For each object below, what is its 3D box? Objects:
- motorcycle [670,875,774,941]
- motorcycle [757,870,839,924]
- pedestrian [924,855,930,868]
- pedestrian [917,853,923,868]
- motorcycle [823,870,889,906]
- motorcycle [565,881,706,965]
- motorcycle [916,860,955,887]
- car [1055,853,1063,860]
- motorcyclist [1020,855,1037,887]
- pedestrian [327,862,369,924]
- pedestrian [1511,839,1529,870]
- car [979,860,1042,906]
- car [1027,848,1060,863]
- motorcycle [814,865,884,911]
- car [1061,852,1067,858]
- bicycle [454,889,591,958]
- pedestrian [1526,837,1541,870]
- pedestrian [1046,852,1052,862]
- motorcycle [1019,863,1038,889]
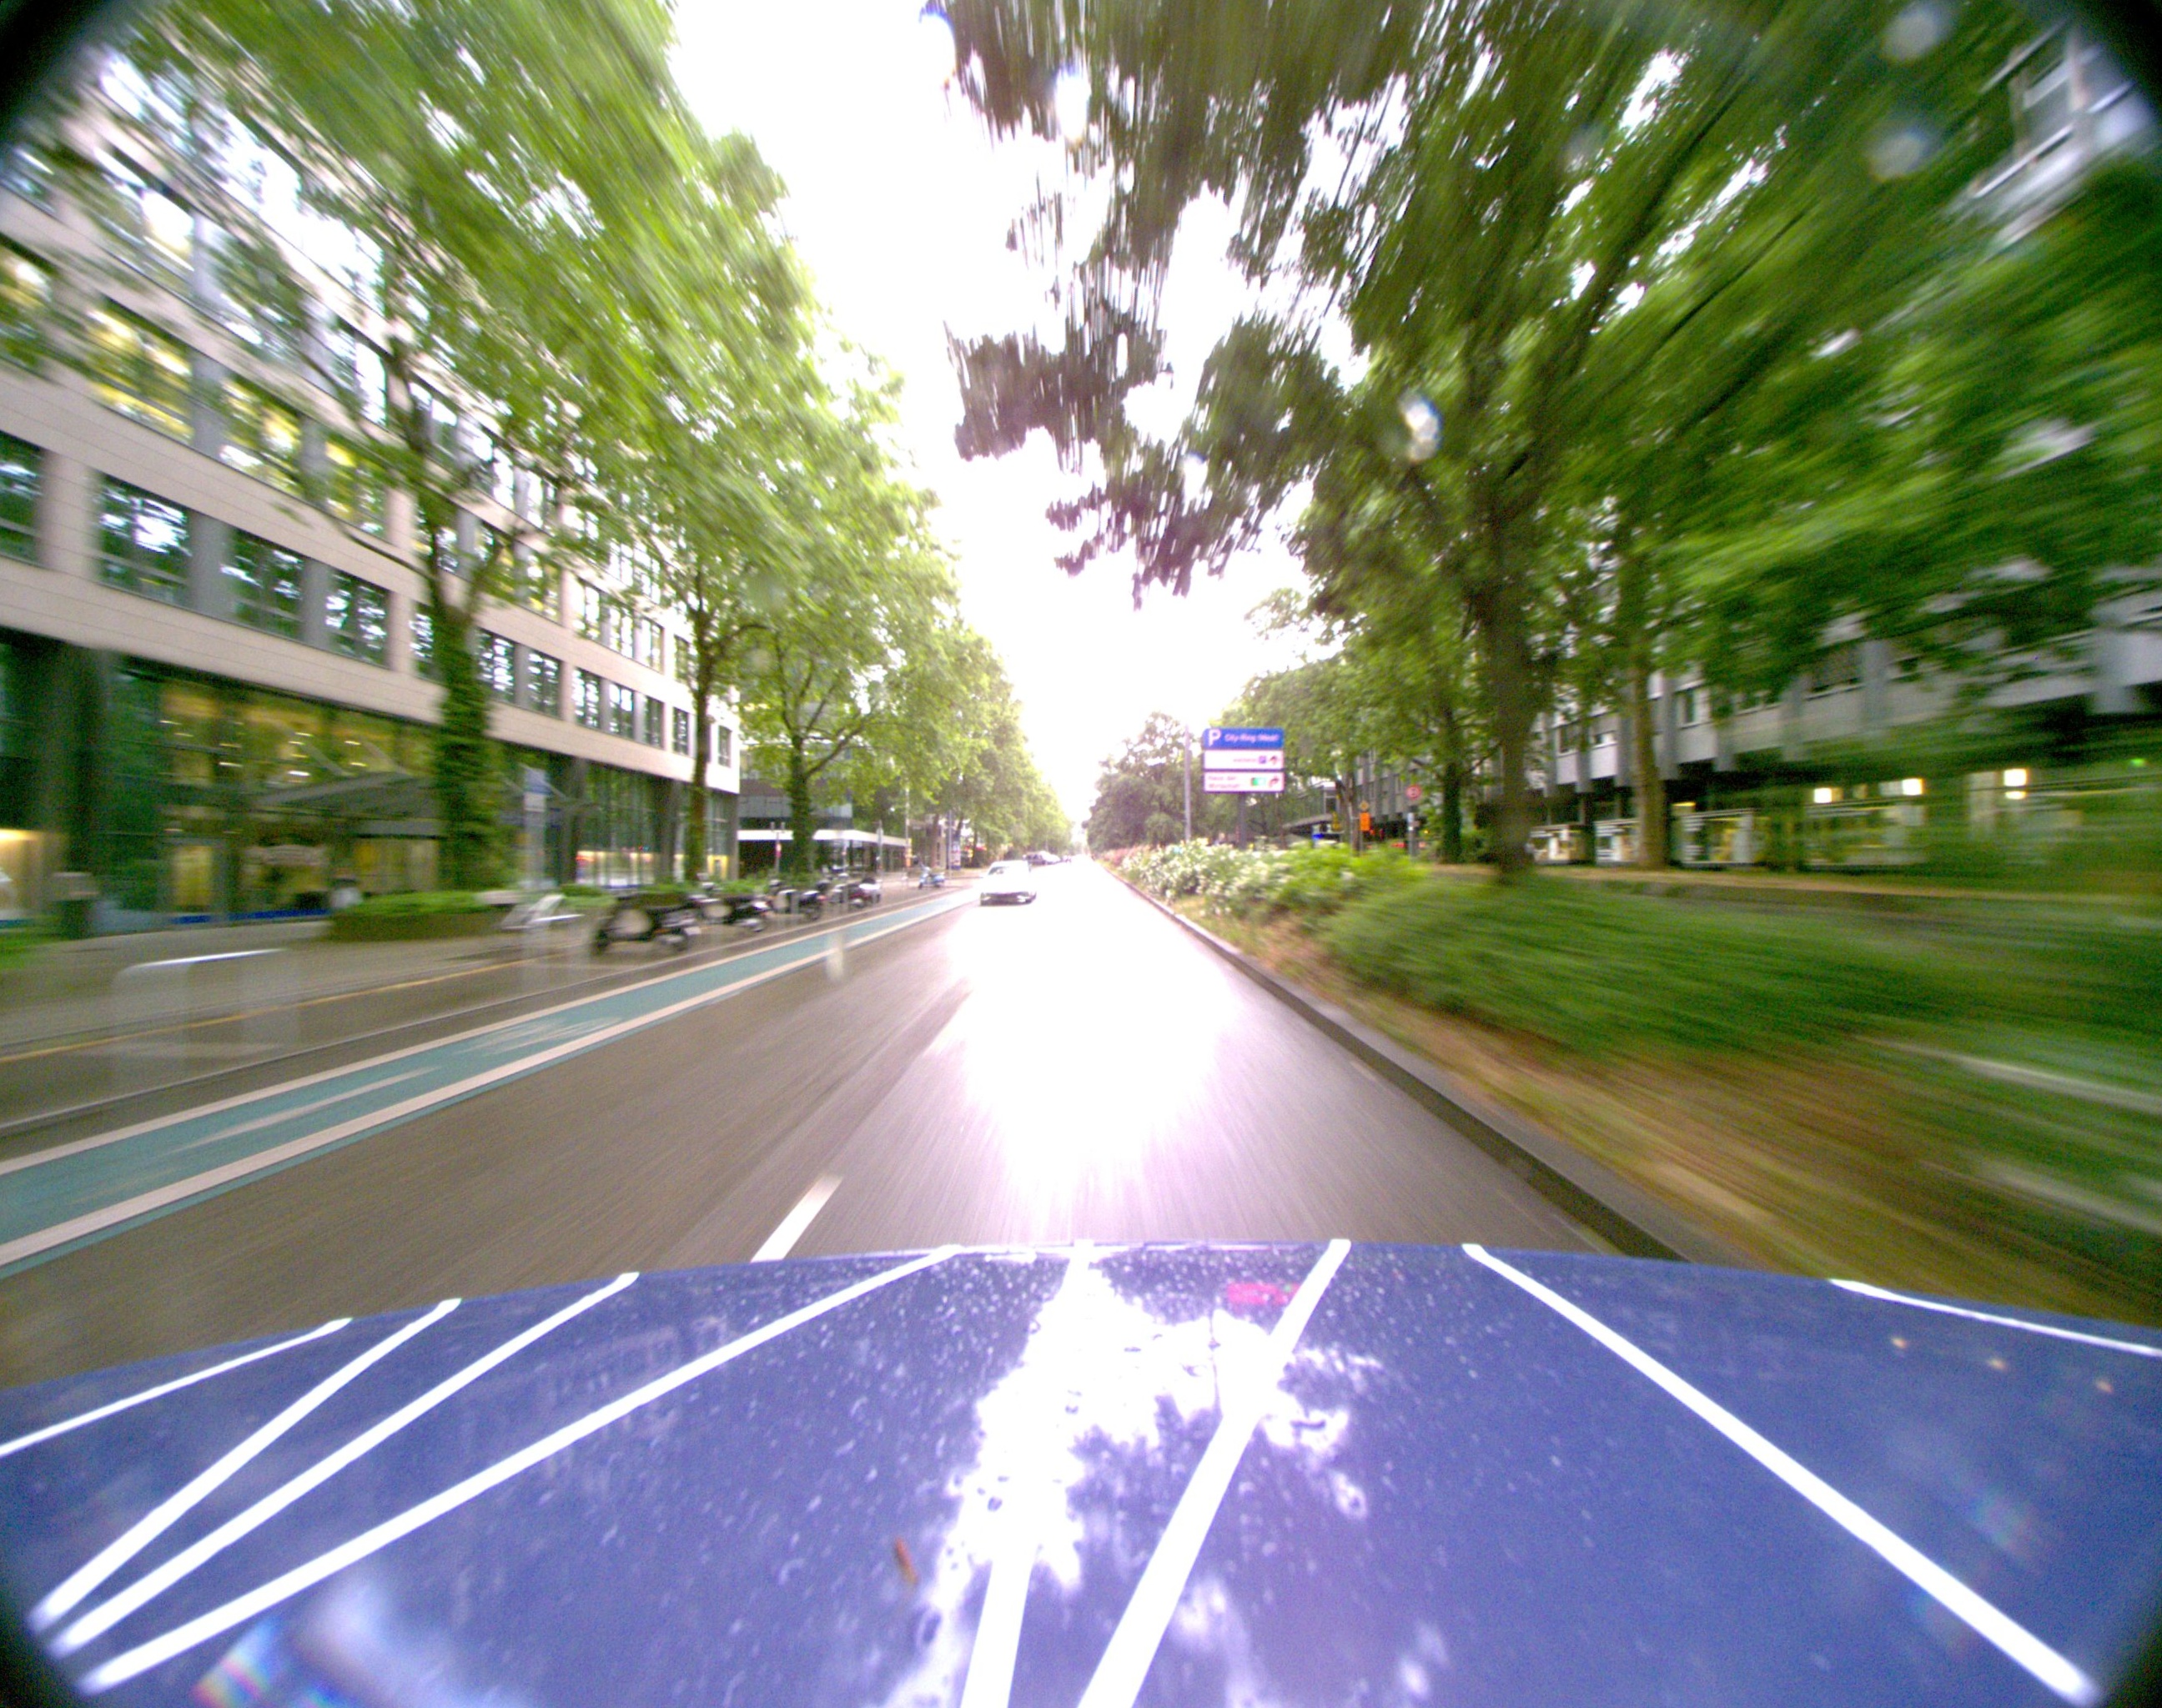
[{"bbox_3d":[-7.706,1.135,16.425,1.964,1.365,0.728,1,-1,-21],"label":"motorcycle"},{"bbox_3d":[-7.401,1.118,19.903,1.964,1.365,0.728,1,-1,-21],"label":"motorcycle"},{"bbox_3d":[-19.465,0.981,96.069,0.527,1.616,0.719,1,2,0],"label":"pedestrian"},{"bbox_3d":[-20.314,0.837,95.875,0.524,1.848,0.704,1,2,0],"label":"pedestrian"},{"bbox_3d":[-7.850,1.181,26.534,2.064,1.206,0.683,1,1,-35],"label":"motorcycle"},{"bbox_3d":[-7.646,1.165,13.150,1.963,1.365,0.728,1,-1,-16],"label":"motorcycle"},{"bbox_3d":[-7.654,1.044,40.093,0.682,1.359,1.950,3,1,41],"label":"motorcycle"},{"bbox_3d":[-4.897,0.541,168.610,1.598,1.516,3.425,-1,0,0],"label":"car"},{"bbox_3d":[-2.629,0.850,38.230,0.744,1.575,1.059,-2,1,1],"label":"motorcyclist"},{"bbox_3d":[-20.720,1.082,21.475,0.727,1.683,0.830,0,0,43],"label":"pedestrian"},{"bbox_3d":[24.162,0.043,41.842,0.565,1.698,0.686,-1,1,1],"label":"pedestrian"},{"bbox_3d":[-2.480,0.983,27.477,1.795,1.463,3.793,-2,0,1],"label":"car"},{"bbox_3d":[-7.181,0.269,144.793,6.267,2.665,2.326,-1,1,36],"label":"car"},{"bbox_3d":[-7.412,1.089,24.272,2.062,1.420,0.728,1,-1,-21],"label":"motorcycle"},{"bbox_3d":[-4.685,0.357,210.342,1.598,1.516,3.425,-1,0,0],"label":"car"},{"bbox_3d":[-9.585,1.155,13.112,0.637,1.022,1.766,-1,0,29],"label":"bicycle"},{"bbox_3d":[24.944,-0.041,41.889,0.549,1.796,0.522,-1,1,1],"label":"pedestrian"},{"bbox_3d":[-5.900,0.514,138.361,0.893,1.839,0.786,-2,1,-16],"label":"pedestrian"},{"bbox_3d":[-2.616,1.103,38.307,0.744,1.194,2.235,-2,1,1],"label":"motorcycle"}]
